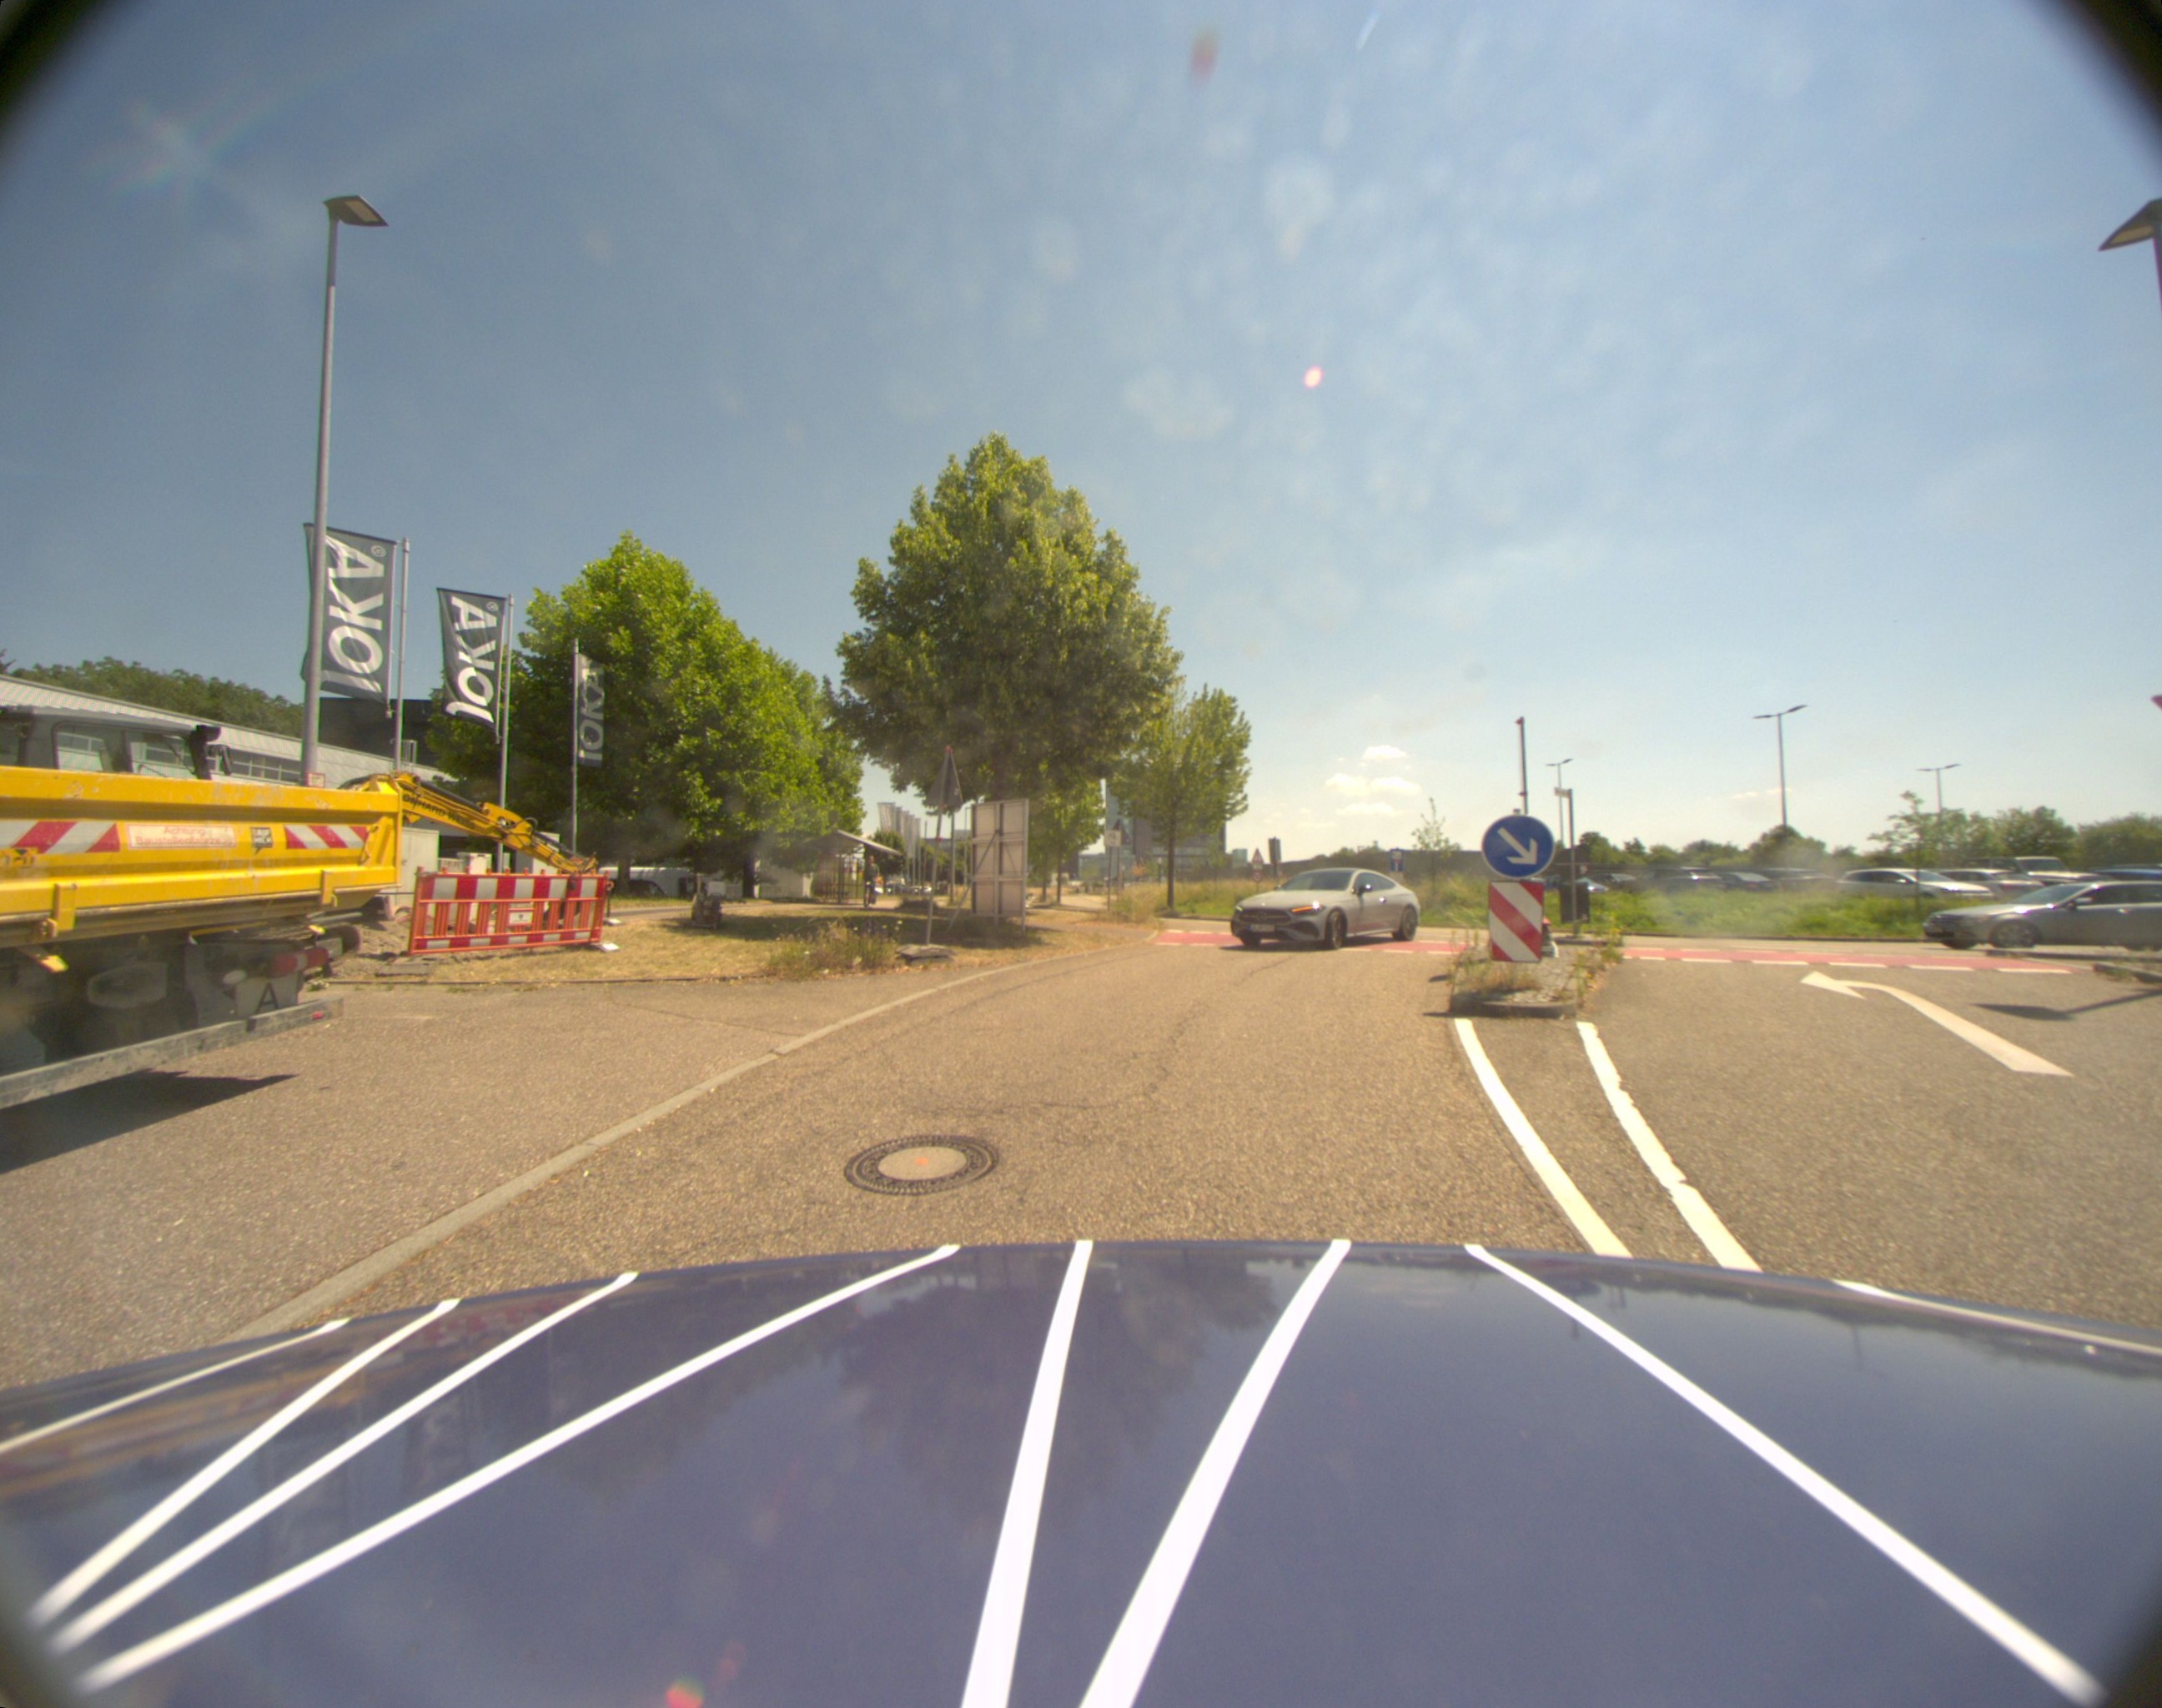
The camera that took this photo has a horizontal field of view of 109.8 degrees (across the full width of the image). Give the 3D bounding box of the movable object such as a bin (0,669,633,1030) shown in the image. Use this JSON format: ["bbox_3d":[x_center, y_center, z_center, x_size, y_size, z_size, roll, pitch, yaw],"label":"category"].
[{"bbox_3d":[-8.194,-0.015,8.716,1.998,2.566,6.579,0,0,2],"label":"movable object such as a bin"}]

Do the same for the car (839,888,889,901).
[{"bbox_3d":[-20.677,3.869,72.498,4.275,1.174,1.494,0,-4,-4],"label":"car"}]

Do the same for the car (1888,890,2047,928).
[{"bbox_3d":[30.345,1.853,26.152,1.500,1.174,3.271,-1,-3,-3],"label":"car"}]

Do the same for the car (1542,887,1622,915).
[{"bbox_3d":[27.489,2.552,41.834,1.653,1.437,3.637,1,-2,-10],"label":"car"}]

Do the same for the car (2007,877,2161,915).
[{"bbox_3d":[35.845,1.453,26.693,1.585,1.249,3.947,-1,-3,-6],"label":"car"}]

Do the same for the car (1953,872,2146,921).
[{"bbox_3d":[33.200,1.458,26.238,1.875,1.517,3.751,-1,-3,2],"label":"car"}]

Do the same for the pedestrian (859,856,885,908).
[{"bbox_3d":[-6.781,0.919,24.688,0.578,1.658,0.532,-2,-5,24],"label":"pedestrian"}]

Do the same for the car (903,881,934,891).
[{"bbox_3d":[-22.441,4.455,104.928,3.891,1.266,1.705,1,-1,-4],"label":"car"}]

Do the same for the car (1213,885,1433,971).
[{"bbox_3d":[4.712,1.334,14.431,4.644,1.374,1.894,4,-4,-42],"label":"car"}]

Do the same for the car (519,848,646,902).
[{"bbox_3d":[-17.376,0.748,26.725,1.839,1.717,4.001,1,-2,-1],"label":"car"}]

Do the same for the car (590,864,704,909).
[{"bbox_3d":[-20.072,1.536,35.314,4.267,2.000,1.548,1,-4,-14],"label":"car"}]

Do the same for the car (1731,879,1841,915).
[{"bbox_3d":[33.671,2.031,36.440,1.769,1.587,3.639,1,-1,-5],"label":"car"}]

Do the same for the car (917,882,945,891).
[{"bbox_3d":[-22.043,4.826,111.944,3.843,1.266,1.609,1,-2,-4],"label":"car"}]

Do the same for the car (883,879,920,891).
[{"bbox_3d":[-20.653,3.583,87.542,3.891,1.266,1.705,1,-2,-4],"label":"car"}]

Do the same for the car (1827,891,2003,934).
[{"bbox_3d":[28.014,1.930,25.728,1.574,1.289,3.879,-1,-3,-2],"label":"car"}]

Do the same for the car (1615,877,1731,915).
[{"bbox_3d":[28.329,2.029,36.585,1.777,1.679,4.605,2,-3,-4],"label":"car"}]

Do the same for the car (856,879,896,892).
[{"bbox_3d":[-20.977,3.234,77.982,3.665,1.317,1.657,0,-4,-4],"label":"car"}]

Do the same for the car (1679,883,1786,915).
[{"bbox_3d":[31.026,2.115,36.335,1.652,1.354,3.848,1,-2,-5],"label":"car"}]

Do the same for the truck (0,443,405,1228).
[{"bbox_3d":[-7.563,-0.161,3.370,6.423,3.118,2.594,2,0,-7],"label":"truck"}]

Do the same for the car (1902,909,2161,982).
[{"bbox_3d":[20.000,1.807,15.199,4.487,1.365,1.678,-2,-6,23],"label":"car"}]
